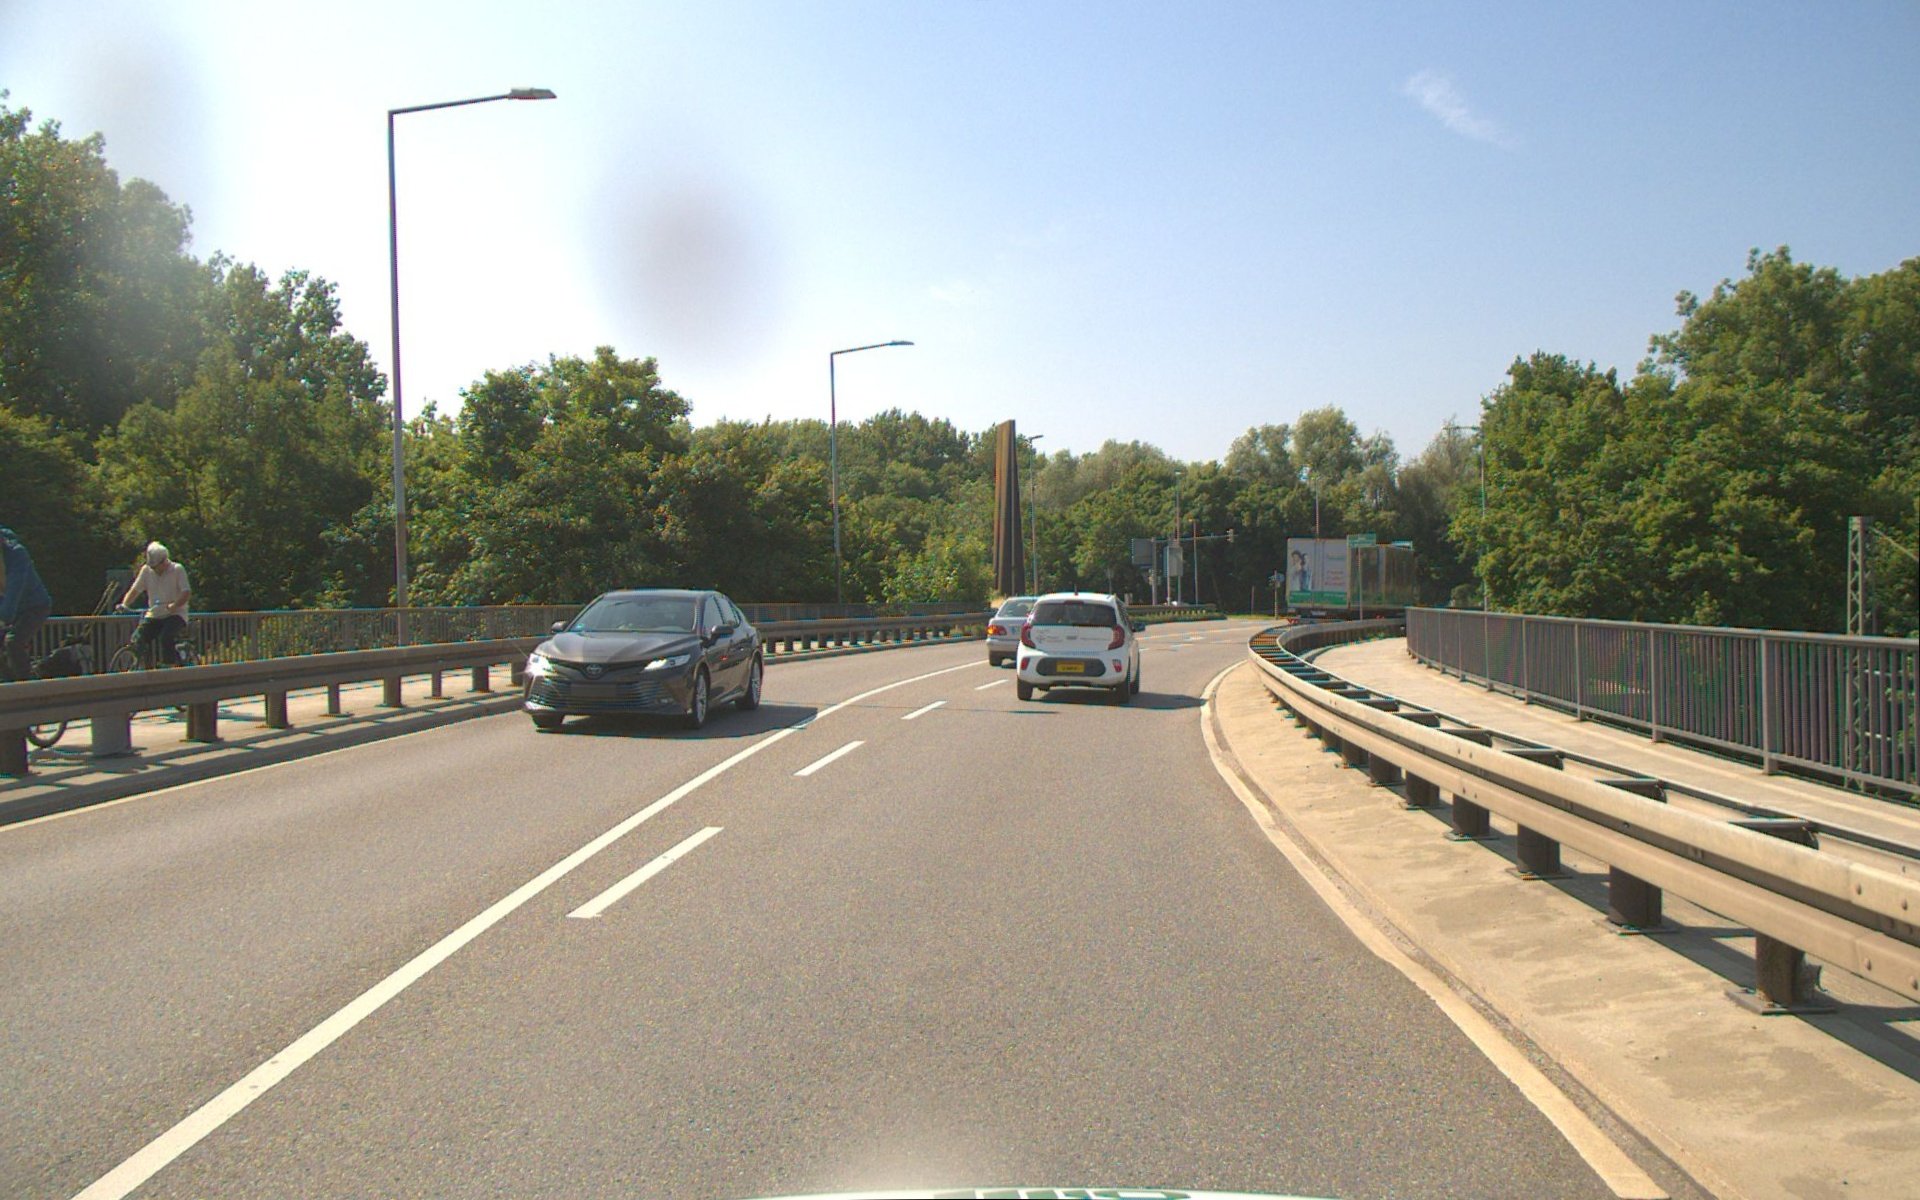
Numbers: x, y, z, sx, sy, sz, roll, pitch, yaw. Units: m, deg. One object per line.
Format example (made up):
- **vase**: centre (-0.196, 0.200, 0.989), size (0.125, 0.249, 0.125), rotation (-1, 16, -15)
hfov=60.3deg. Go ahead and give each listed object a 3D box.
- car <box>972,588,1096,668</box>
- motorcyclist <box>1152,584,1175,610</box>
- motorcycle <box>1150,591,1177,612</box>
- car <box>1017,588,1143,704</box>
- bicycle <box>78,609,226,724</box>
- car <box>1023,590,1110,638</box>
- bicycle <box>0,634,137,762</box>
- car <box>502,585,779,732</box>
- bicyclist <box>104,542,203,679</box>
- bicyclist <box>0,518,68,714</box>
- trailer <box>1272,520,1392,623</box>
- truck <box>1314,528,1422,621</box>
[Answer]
- **car**: centre (1.631, 0.534, 34.556), size (1.897, 1.512, 4.904), rotation (1, 0, 11)
- **motorcyclist**: centre (15.277, -0.245, 124.153), size (0.884, 1.903, 1.443), rotation (2, -1, -40)
- **motorcycle**: centre (15.263, 0.102, 124.140), size (0.891, 1.556, 1.954), rotation (2, -1, -40)
- **car**: centre (1.812, 0.620, 24.451), size (1.666, 1.520, 4.002), rotation (2, 0, 5)
- **bicycle**: centre (-8.253, 0.652, 16.968), size (0.562, 1.065, 1.711), rotation (-2, 1, 3)
- **car**: centre (3.512, 0.421, 53.994), size (1.816, 1.467, 4.518), rotation (1, 1, 17)
- **bicycle**: centre (-7.708, 0.770, 13.470), size (0.909, 0.906, 1.968), rotation (1, 1, 5)
- **car**: centre (-3.462, 0.561, 18.939), size (1.780, 1.455, 4.867), rotation (0, 1, 6)
- **bicyclist**: centre (-8.241, 0.108, 16.929), size (0.478, 1.352, 0.947), rotation (1, -1, 3)
- **bicyclist**: centre (-7.743, 0.118, 13.149), size (0.646, 1.522, 1.017), rotation (1, 1, 9)
- **trailer**: centre (15.205, -1.115, 67.080), size (3.160, 3.823, 7.821), rotation (3, 1, 24)
- **truck**: centre (18.477, -1.110, 74.511), size (3.195, 3.823, 8.367), rotation (3, 1, 24)
